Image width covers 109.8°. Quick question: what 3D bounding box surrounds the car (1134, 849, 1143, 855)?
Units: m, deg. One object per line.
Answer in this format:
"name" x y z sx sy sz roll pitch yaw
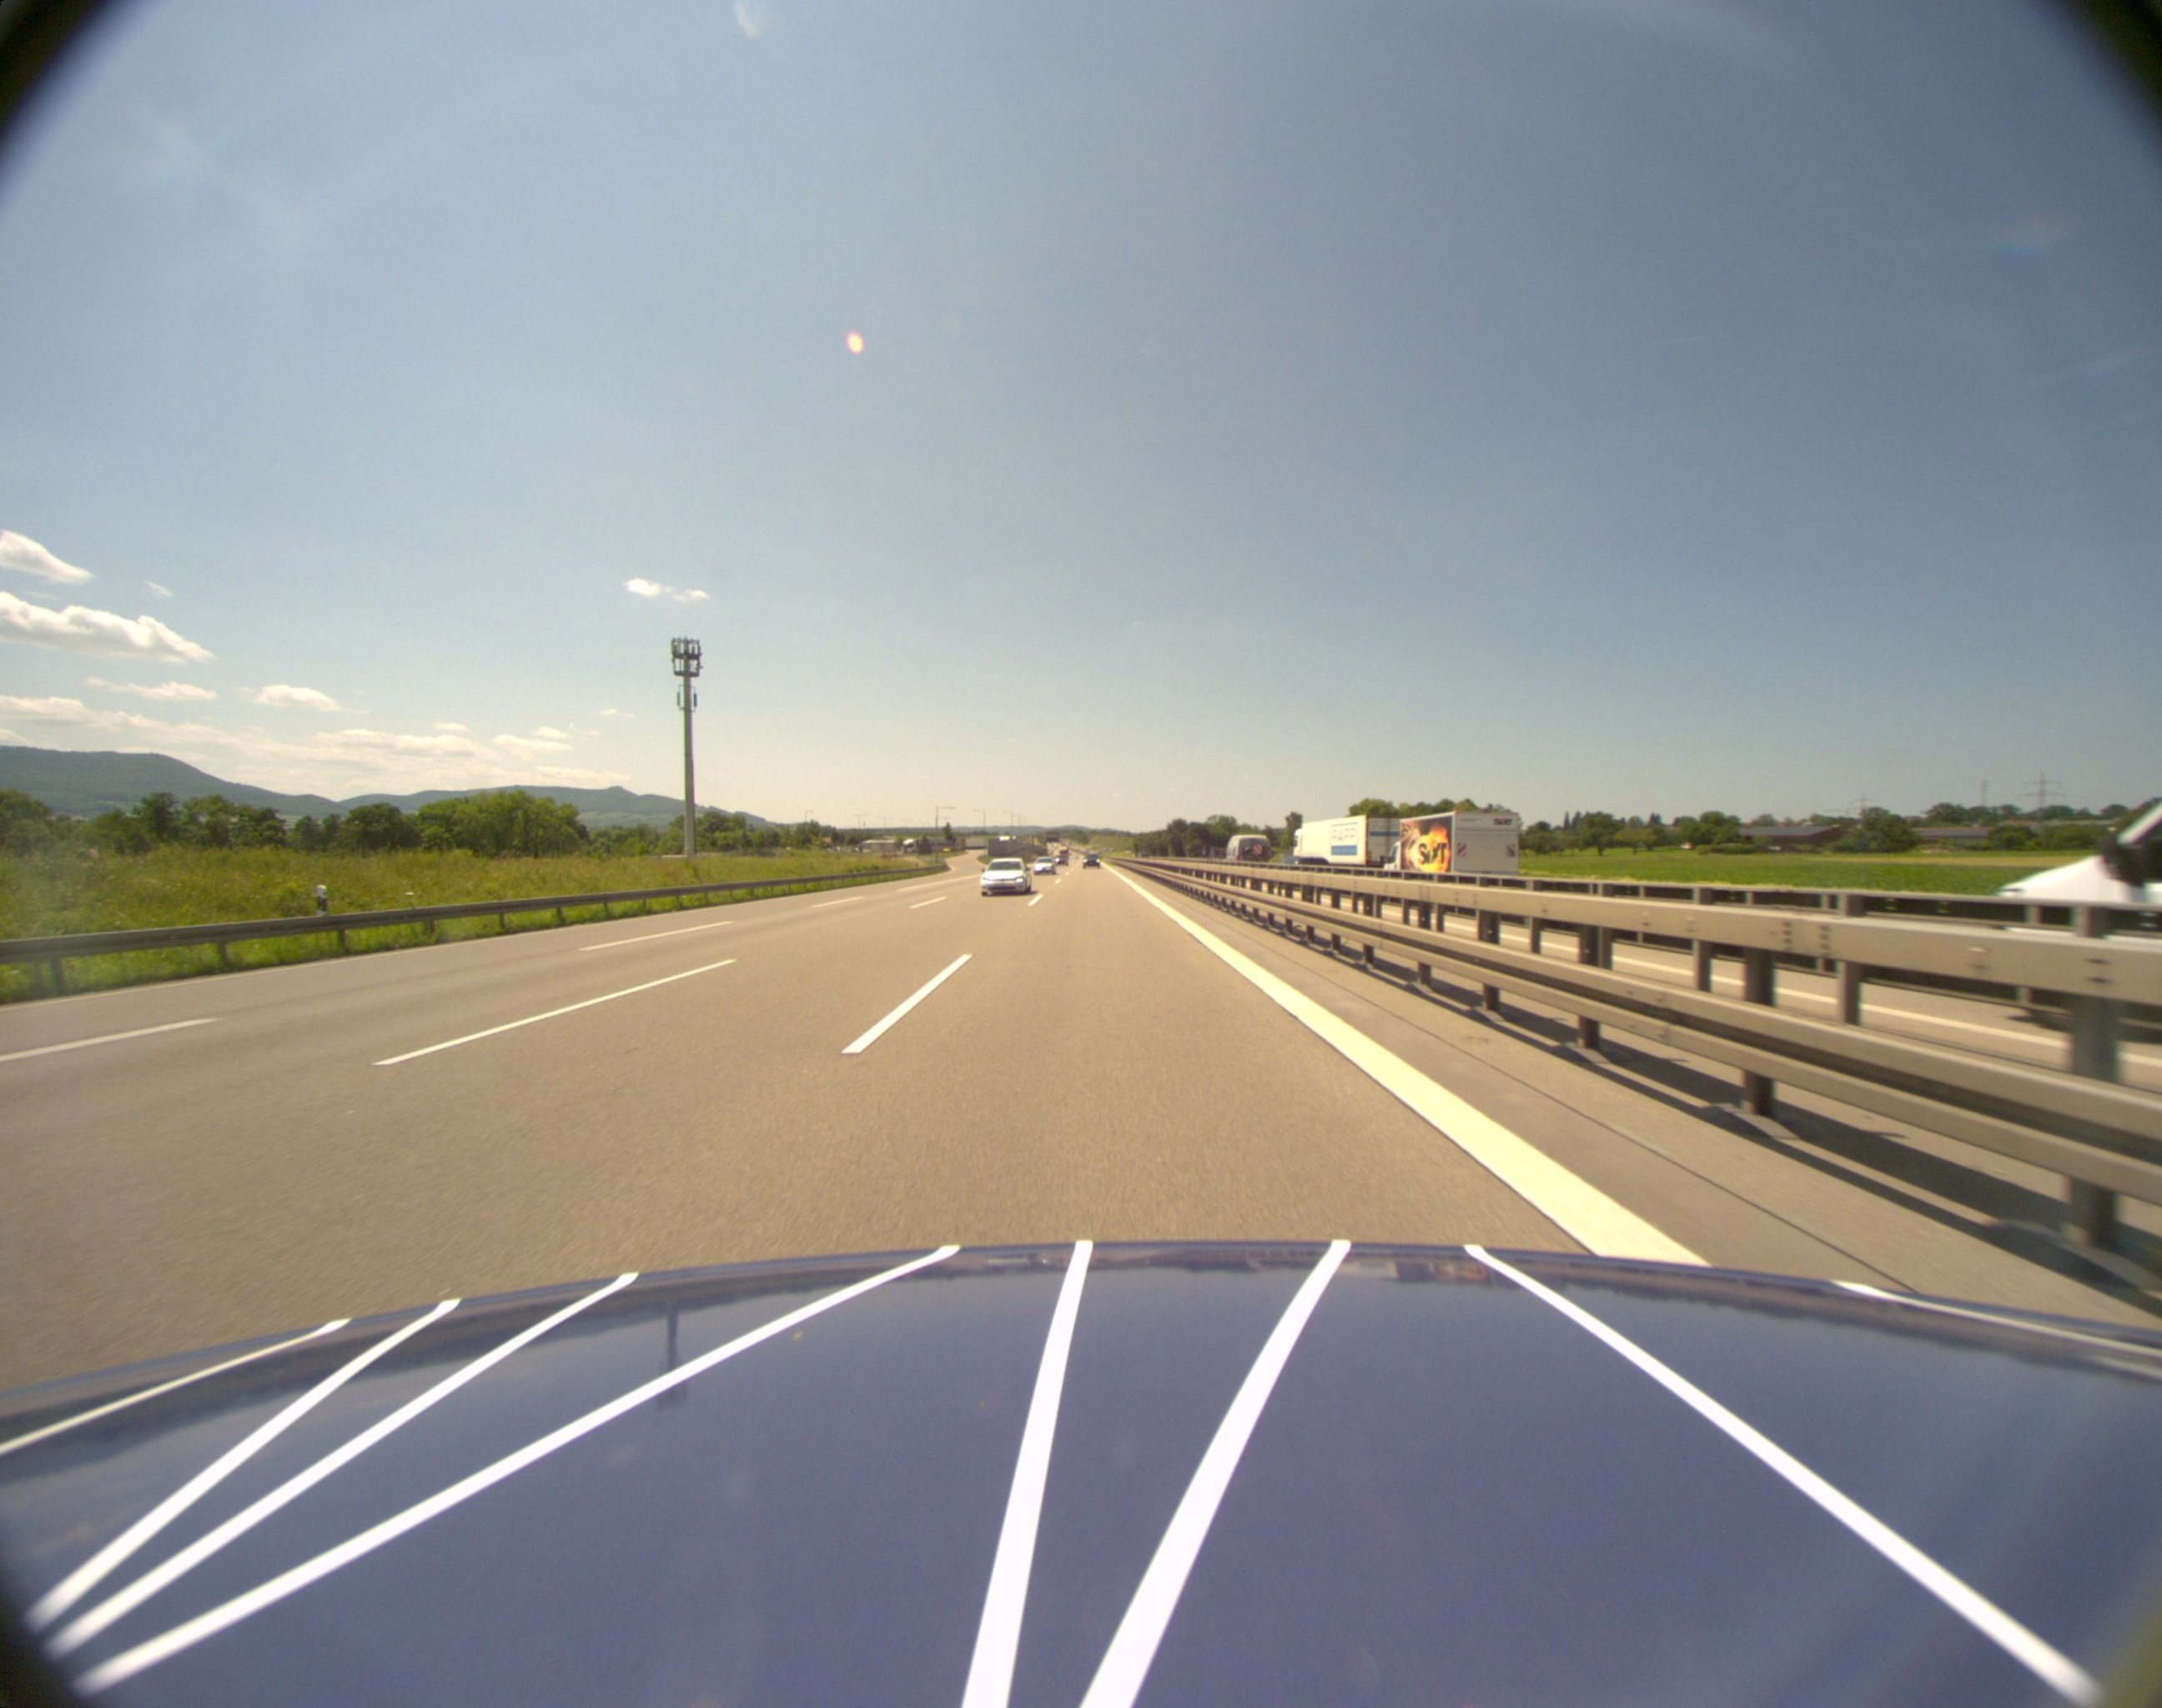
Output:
"car" 13.335 -0.532 176.839 1.824 1.436 4.000 1 1 1

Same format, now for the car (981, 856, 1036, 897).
"car" -2.961 0.878 31.732 1.780 1.425 4.690 -2 1 0

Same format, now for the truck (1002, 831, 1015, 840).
"truck" -19.344 -4.972 203.546 2.715 2.192 7.285 -2 1 -1

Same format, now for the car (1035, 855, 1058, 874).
"car" -2.760 0.793 61.344 1.634 1.381 3.999 -2 1 -1

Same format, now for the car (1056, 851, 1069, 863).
"car" -2.534 0.377 105.984 1.751 1.559 3.999 -2 1 -1

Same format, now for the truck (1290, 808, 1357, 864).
"truck" 18.110 -1.307 57.231 2.947 3.908 6.476 -2 1 1

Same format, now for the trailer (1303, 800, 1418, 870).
"trailer" 18.009 -1.191 50.319 2.965 3.895 12.892 -2 1 1

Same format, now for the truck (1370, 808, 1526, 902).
"truck" 13.249 -0.009 28.224 2.255 2.992 7.427 1 1 1

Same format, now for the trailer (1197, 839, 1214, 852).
"trailer" 38.319 -2.717 234.421 2.775 3.757 14.409 -2 1 0

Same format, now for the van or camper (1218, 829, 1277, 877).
"van or camper" 10.365 -0.099 47.920 2.163 2.719 7.294 -2 1 1

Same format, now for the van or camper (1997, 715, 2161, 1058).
"van or camper" 9.087 0.240 3.619 2.128 2.560 6.121 -2 1 1

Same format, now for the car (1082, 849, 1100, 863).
"car" 1.087 0.224 83.025 1.751 1.439 3.999 3 0 -1

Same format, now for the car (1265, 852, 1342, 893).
"car" 9.283 0.712 32.144 1.772 1.413 4.933 5 1 1

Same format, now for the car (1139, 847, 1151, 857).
"car" 11.210 -0.313 132.827 1.815 1.631 4.427 1 1 1

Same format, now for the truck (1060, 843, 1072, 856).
"truck" -4.862 -1.484 242.583 3.368 4.037 11.732 -2 1 -4
